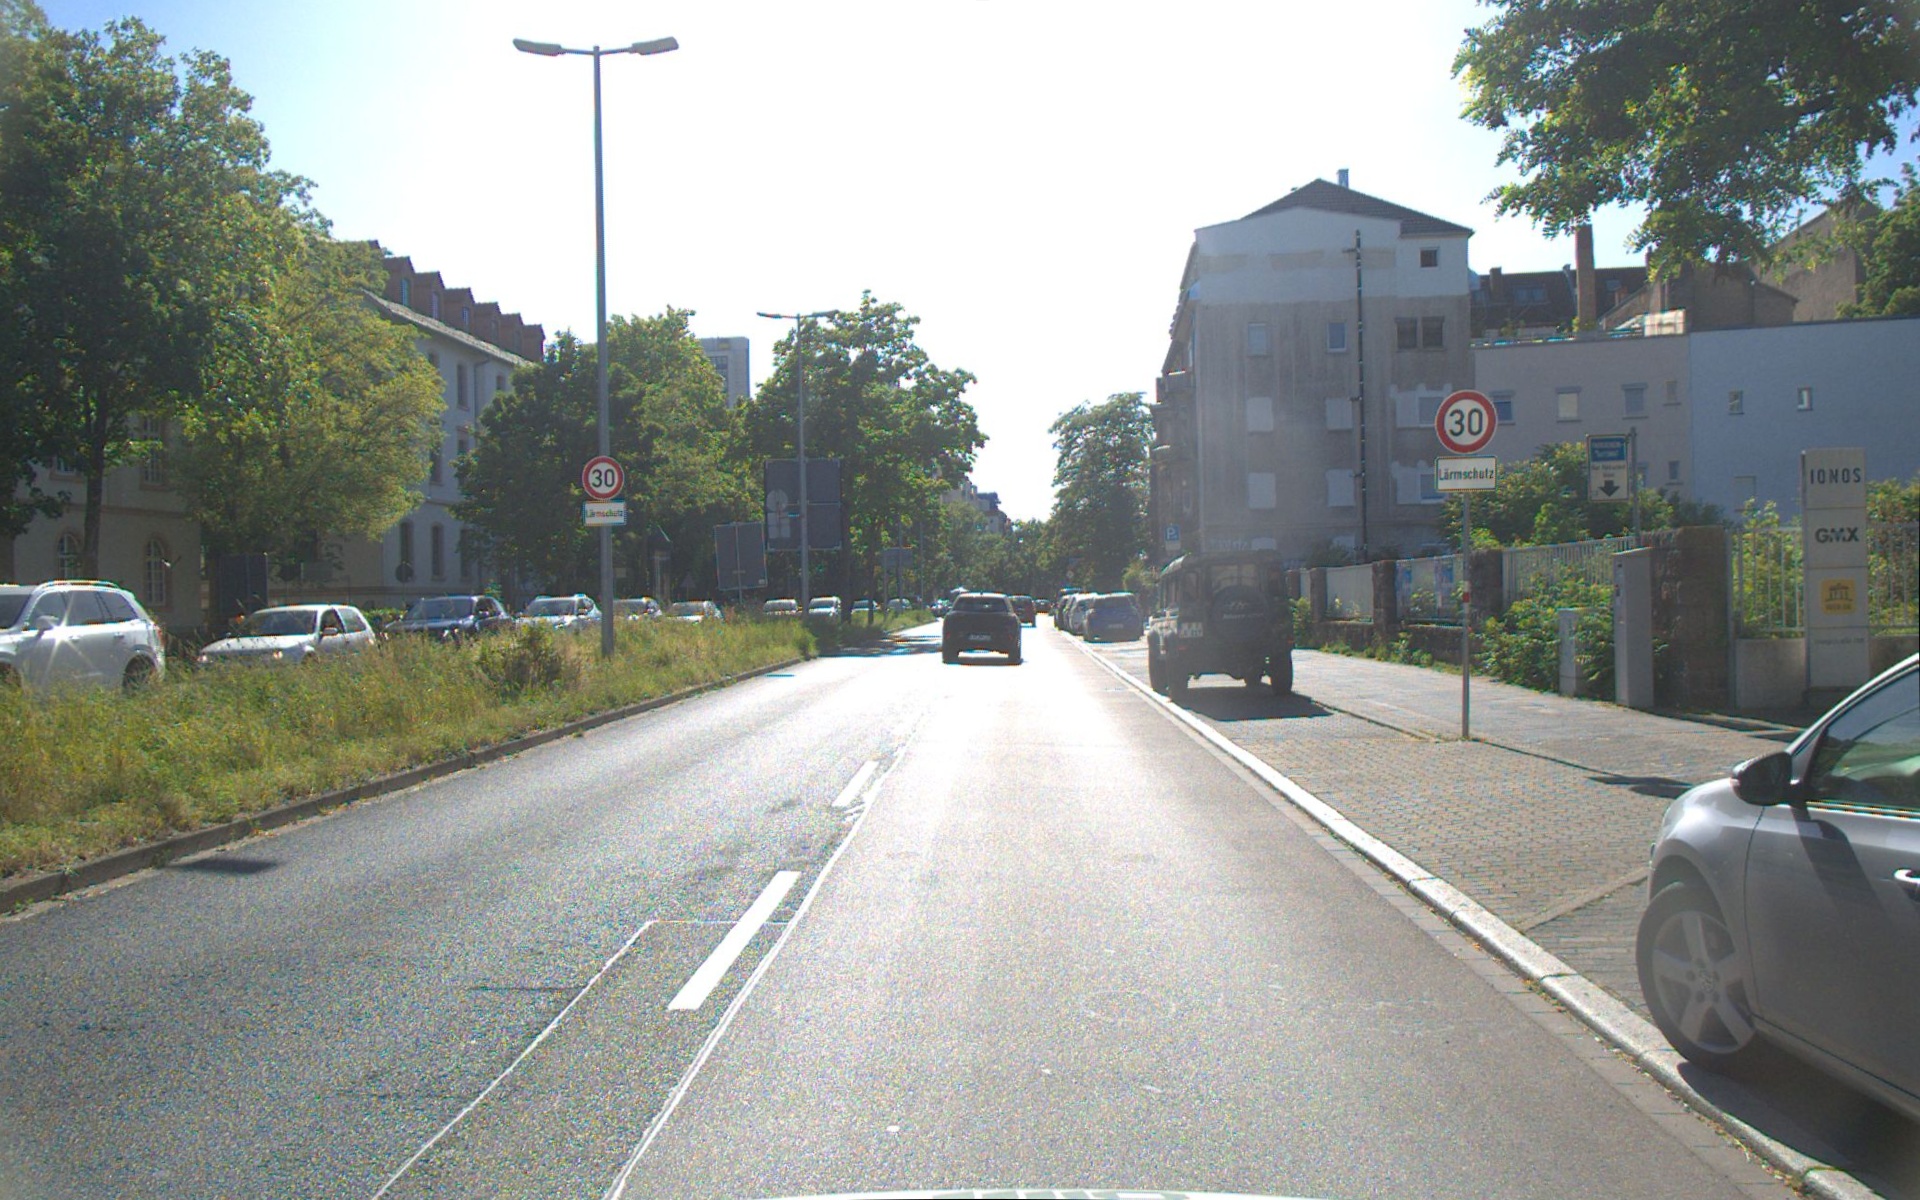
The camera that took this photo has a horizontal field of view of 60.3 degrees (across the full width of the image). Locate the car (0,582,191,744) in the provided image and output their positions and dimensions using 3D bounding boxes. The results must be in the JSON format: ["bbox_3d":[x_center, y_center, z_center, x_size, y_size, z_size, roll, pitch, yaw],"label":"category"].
[{"bbox_3d":[-11.362,0.706,19.898,1.758,1.773,5.032,-1,0,1],"label":"car"}]

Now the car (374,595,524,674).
[{"bbox_3d":[-10.890,0.698,35.589,1.758,1.545,4.445,-1,0,1],"label":"car"}]

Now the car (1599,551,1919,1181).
[{"bbox_3d":[3.092,0.637,3.956,1.604,1.473,4.157,-2,2,2],"label":"car"}]

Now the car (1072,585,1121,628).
[{"bbox_3d":[5.302,0.229,64.673,1.575,1.471,3.659,-5,0,1],"label":"car"}]

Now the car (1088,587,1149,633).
[{"bbox_3d":[5.724,0.325,60.052,1.635,1.485,3.985,-5,0,-1],"label":"car"}]

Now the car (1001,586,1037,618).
[{"bbox_3d":[2.948,0.062,82.863,1.755,1.547,3.850,0,0,2],"label":"car"}]

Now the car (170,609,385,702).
[{"bbox_3d":[-11.329,0.874,27.792,1.758,1.375,4.259,-1,0,1],"label":"car"}]

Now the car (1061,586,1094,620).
[{"bbox_3d":[6.714,0.153,94.561,1.781,1.876,4.367,-2,0,5],"label":"car"}]

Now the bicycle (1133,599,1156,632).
[{"bbox_3d":[7.232,0.605,64.898,0.725,1.240,1.961,-3,0,4],"label":"bicycle"}]

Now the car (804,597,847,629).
[{"bbox_3d":[-7.314,0.702,90.486,1.861,1.654,4.537,-2,0,1],"label":"car"}]

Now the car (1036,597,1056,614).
[{"bbox_3d":[8.610,0.533,166.442,1.880,1.668,4.001,-2,0,2],"label":"car"}]

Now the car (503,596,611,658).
[{"bbox_3d":[-10.741,0.694,44.394,1.758,1.545,4.259,-1,0,1],"label":"car"}]

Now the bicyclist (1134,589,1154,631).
[{"bbox_3d":[7.210,0.372,64.822,0.726,1.607,1.101,0,1,4],"label":"bicyclist"}]

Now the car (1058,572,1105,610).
[{"bbox_3d":[5.169,-0.385,70.753,1.634,1.545,3.660,-2,0,-1],"label":"car"}]

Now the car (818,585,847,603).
[{"bbox_3d":[-12.469,-0.601,161.386,1.944,1.691,3.980,-2,0,-17],"label":"car"}]

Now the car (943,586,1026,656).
[{"bbox_3d":[0.526,0.467,38.981,1.856,1.545,3.999,1,0,-1],"label":"car"}]

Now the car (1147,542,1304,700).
[{"bbox_3d":[3.847,0.292,24.674,1.626,2.049,4.777,-3,0,2],"label":"car"}]

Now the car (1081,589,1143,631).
[{"bbox_3d":[5.044,0.321,55.274,1.634,1.203,3.901,-5,0,0],"label":"car"}]
